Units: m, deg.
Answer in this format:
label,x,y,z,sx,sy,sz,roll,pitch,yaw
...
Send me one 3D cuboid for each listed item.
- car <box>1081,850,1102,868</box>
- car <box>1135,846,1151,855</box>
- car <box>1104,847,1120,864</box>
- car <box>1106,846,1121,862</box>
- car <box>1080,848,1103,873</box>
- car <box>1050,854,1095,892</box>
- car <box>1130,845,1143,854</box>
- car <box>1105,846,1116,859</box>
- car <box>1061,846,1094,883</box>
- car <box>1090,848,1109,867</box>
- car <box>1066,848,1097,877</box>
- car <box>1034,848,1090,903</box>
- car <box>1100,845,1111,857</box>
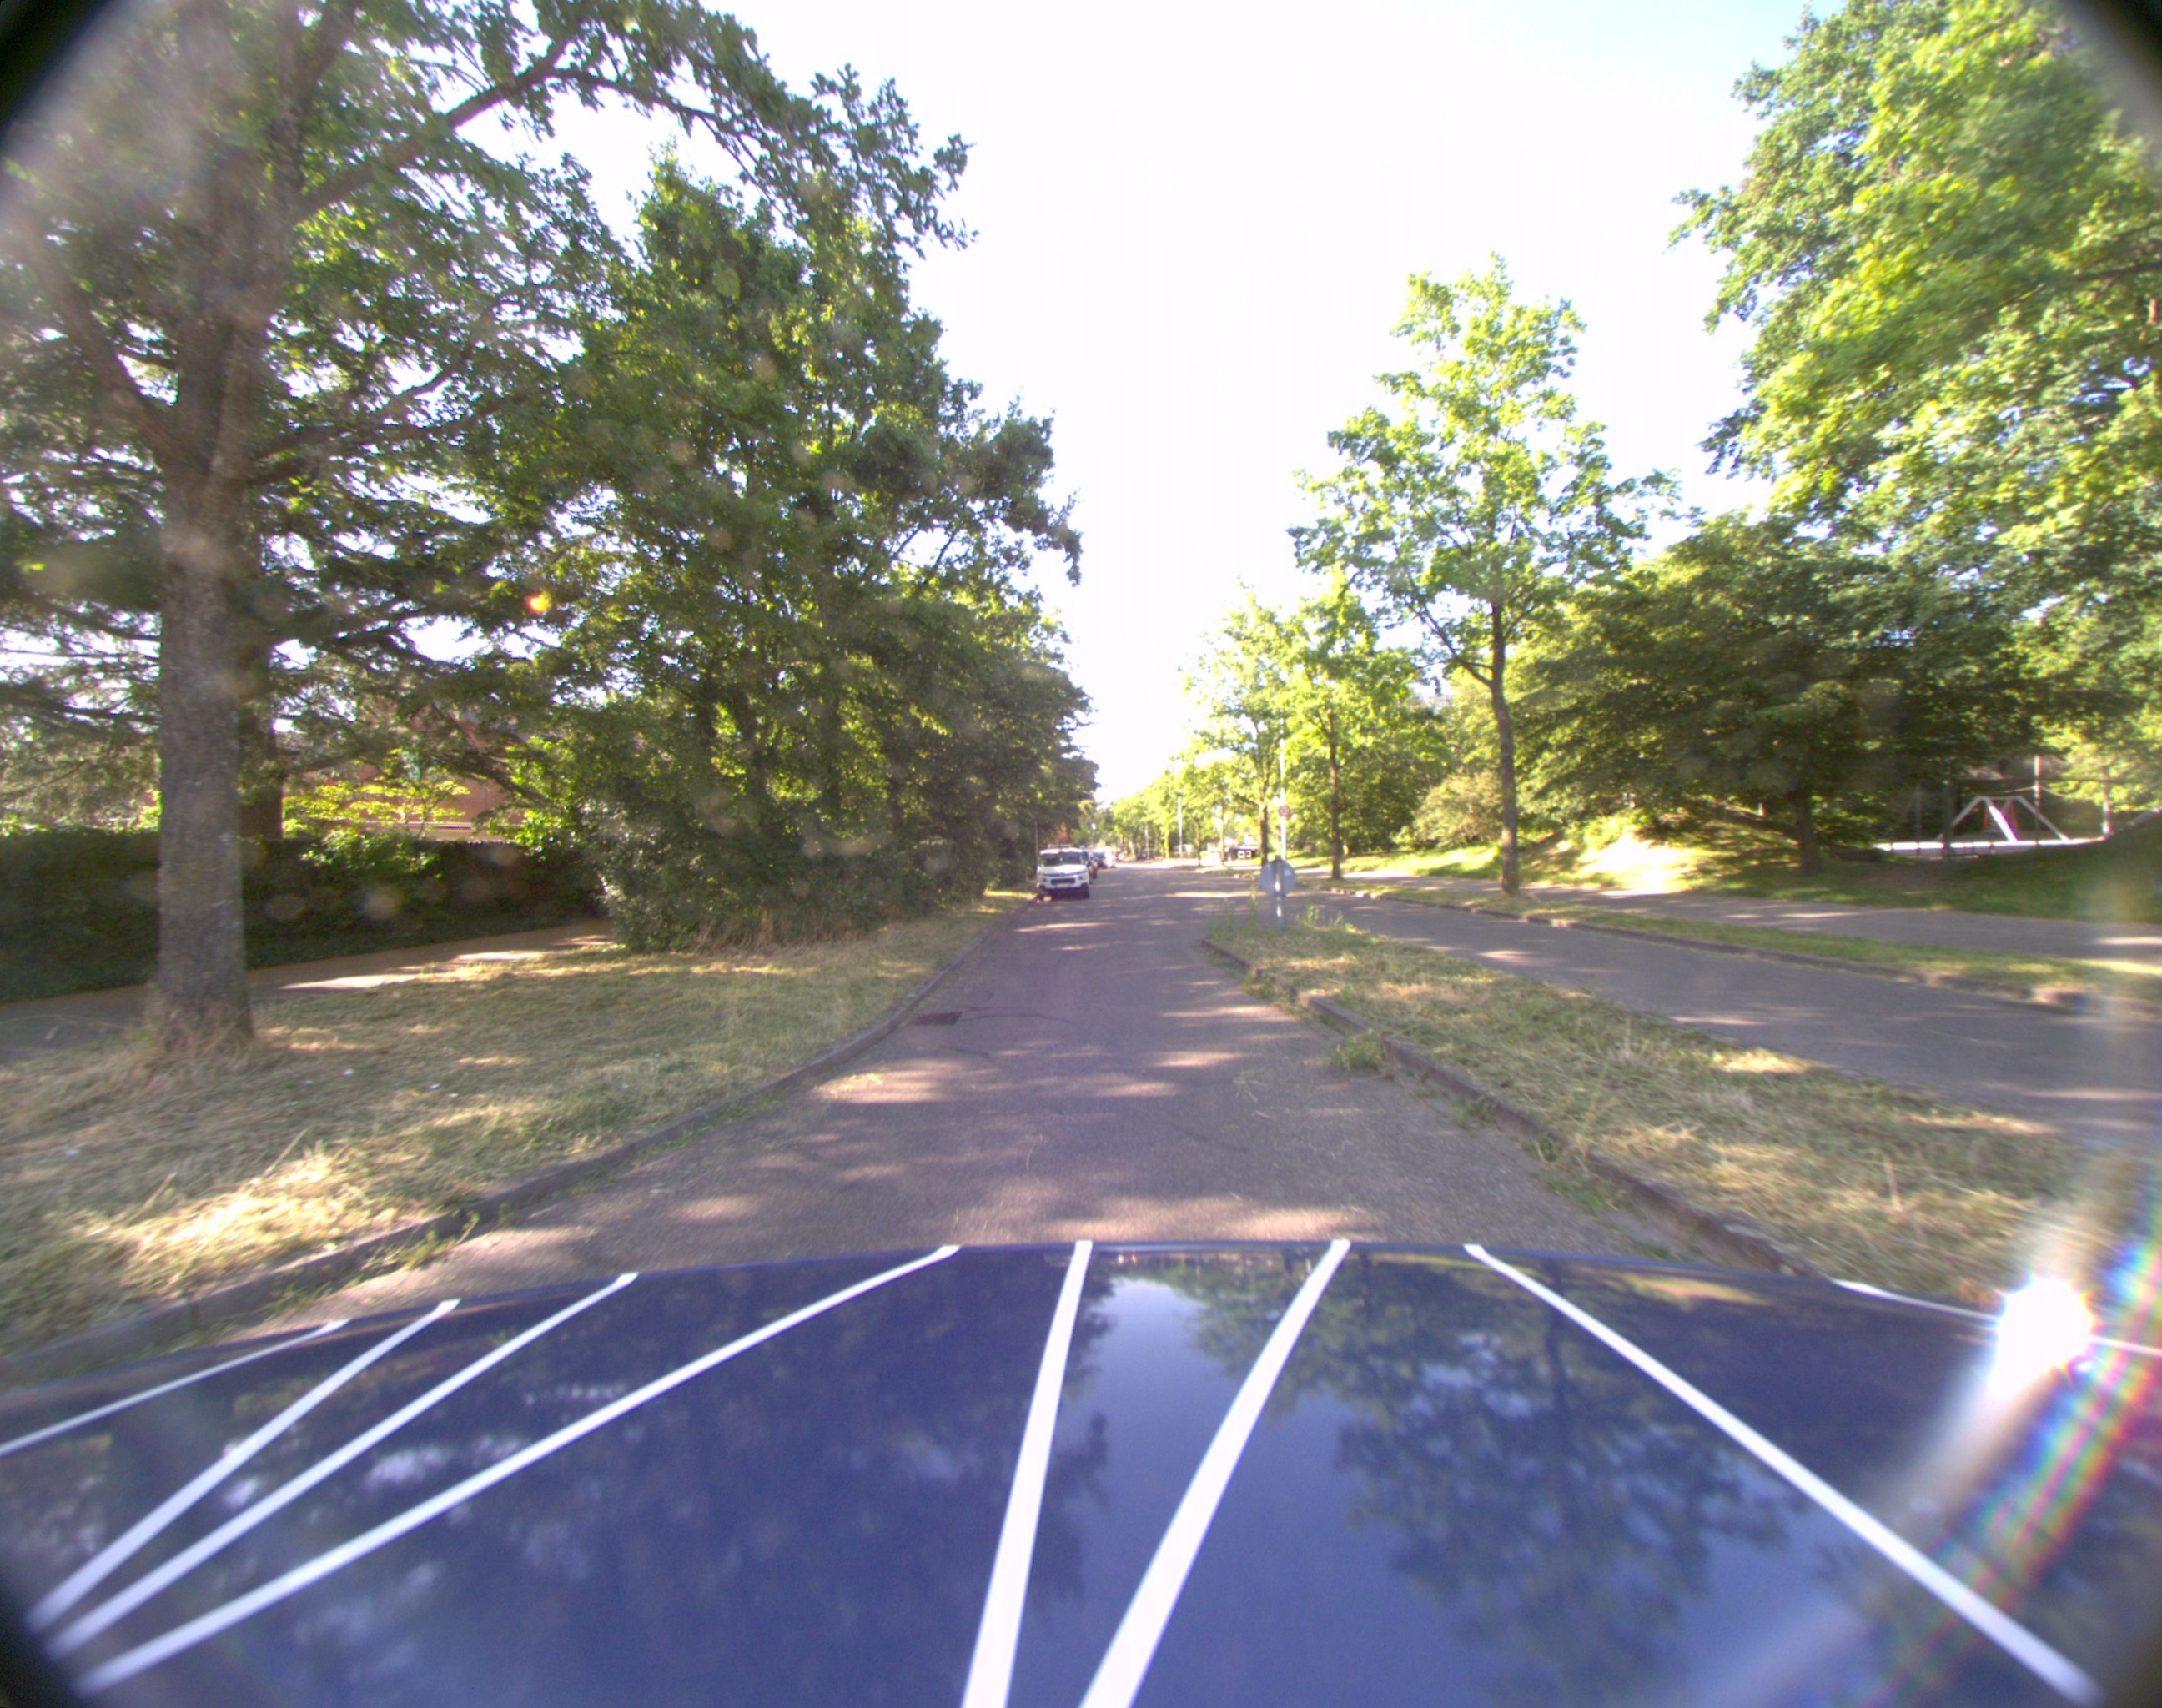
label,x,y,z,sx,sy,sz,roll,pitch,yaw
car,0.927,0.415,62.847,1.499,1.351,3.467,-2,1,4
car,9.892,-0.597,121.878,1.999,1.359,3.997,-2,1,-5
car,3.170,0.114,77.431,1.449,1.644,3.720,-2,1,4
car,3.573,-0.064,82.937,1.449,1.644,3.720,-2,1,4
car,0.735,0.434,53.168,1.500,1.629,3.753,-2,1,2
car,-0.301,0.775,33.273,1.722,1.436,4.614,-3,0,2
car,10.189,-0.911,140.427,1.999,1.574,3.999,-1,1,-1
car,3.992,-0.256,102.576,1.421,1.644,3.910,-2,1,4
car,-0.145,0.497,38.973,1.500,1.744,3.802,-2,1,2
car,1.746,0.268,69.337,1.499,1.644,4.092,-2,1,4
car,0.082,0.511,46.724,1.772,1.629,3.753,-2,1,2
car,-0.672,0.685,27.507,1.754,1.739,4.633,-2,1,-1
car,3.698,-0.428,113.188,1.421,1.644,3.910,-2,1,4
